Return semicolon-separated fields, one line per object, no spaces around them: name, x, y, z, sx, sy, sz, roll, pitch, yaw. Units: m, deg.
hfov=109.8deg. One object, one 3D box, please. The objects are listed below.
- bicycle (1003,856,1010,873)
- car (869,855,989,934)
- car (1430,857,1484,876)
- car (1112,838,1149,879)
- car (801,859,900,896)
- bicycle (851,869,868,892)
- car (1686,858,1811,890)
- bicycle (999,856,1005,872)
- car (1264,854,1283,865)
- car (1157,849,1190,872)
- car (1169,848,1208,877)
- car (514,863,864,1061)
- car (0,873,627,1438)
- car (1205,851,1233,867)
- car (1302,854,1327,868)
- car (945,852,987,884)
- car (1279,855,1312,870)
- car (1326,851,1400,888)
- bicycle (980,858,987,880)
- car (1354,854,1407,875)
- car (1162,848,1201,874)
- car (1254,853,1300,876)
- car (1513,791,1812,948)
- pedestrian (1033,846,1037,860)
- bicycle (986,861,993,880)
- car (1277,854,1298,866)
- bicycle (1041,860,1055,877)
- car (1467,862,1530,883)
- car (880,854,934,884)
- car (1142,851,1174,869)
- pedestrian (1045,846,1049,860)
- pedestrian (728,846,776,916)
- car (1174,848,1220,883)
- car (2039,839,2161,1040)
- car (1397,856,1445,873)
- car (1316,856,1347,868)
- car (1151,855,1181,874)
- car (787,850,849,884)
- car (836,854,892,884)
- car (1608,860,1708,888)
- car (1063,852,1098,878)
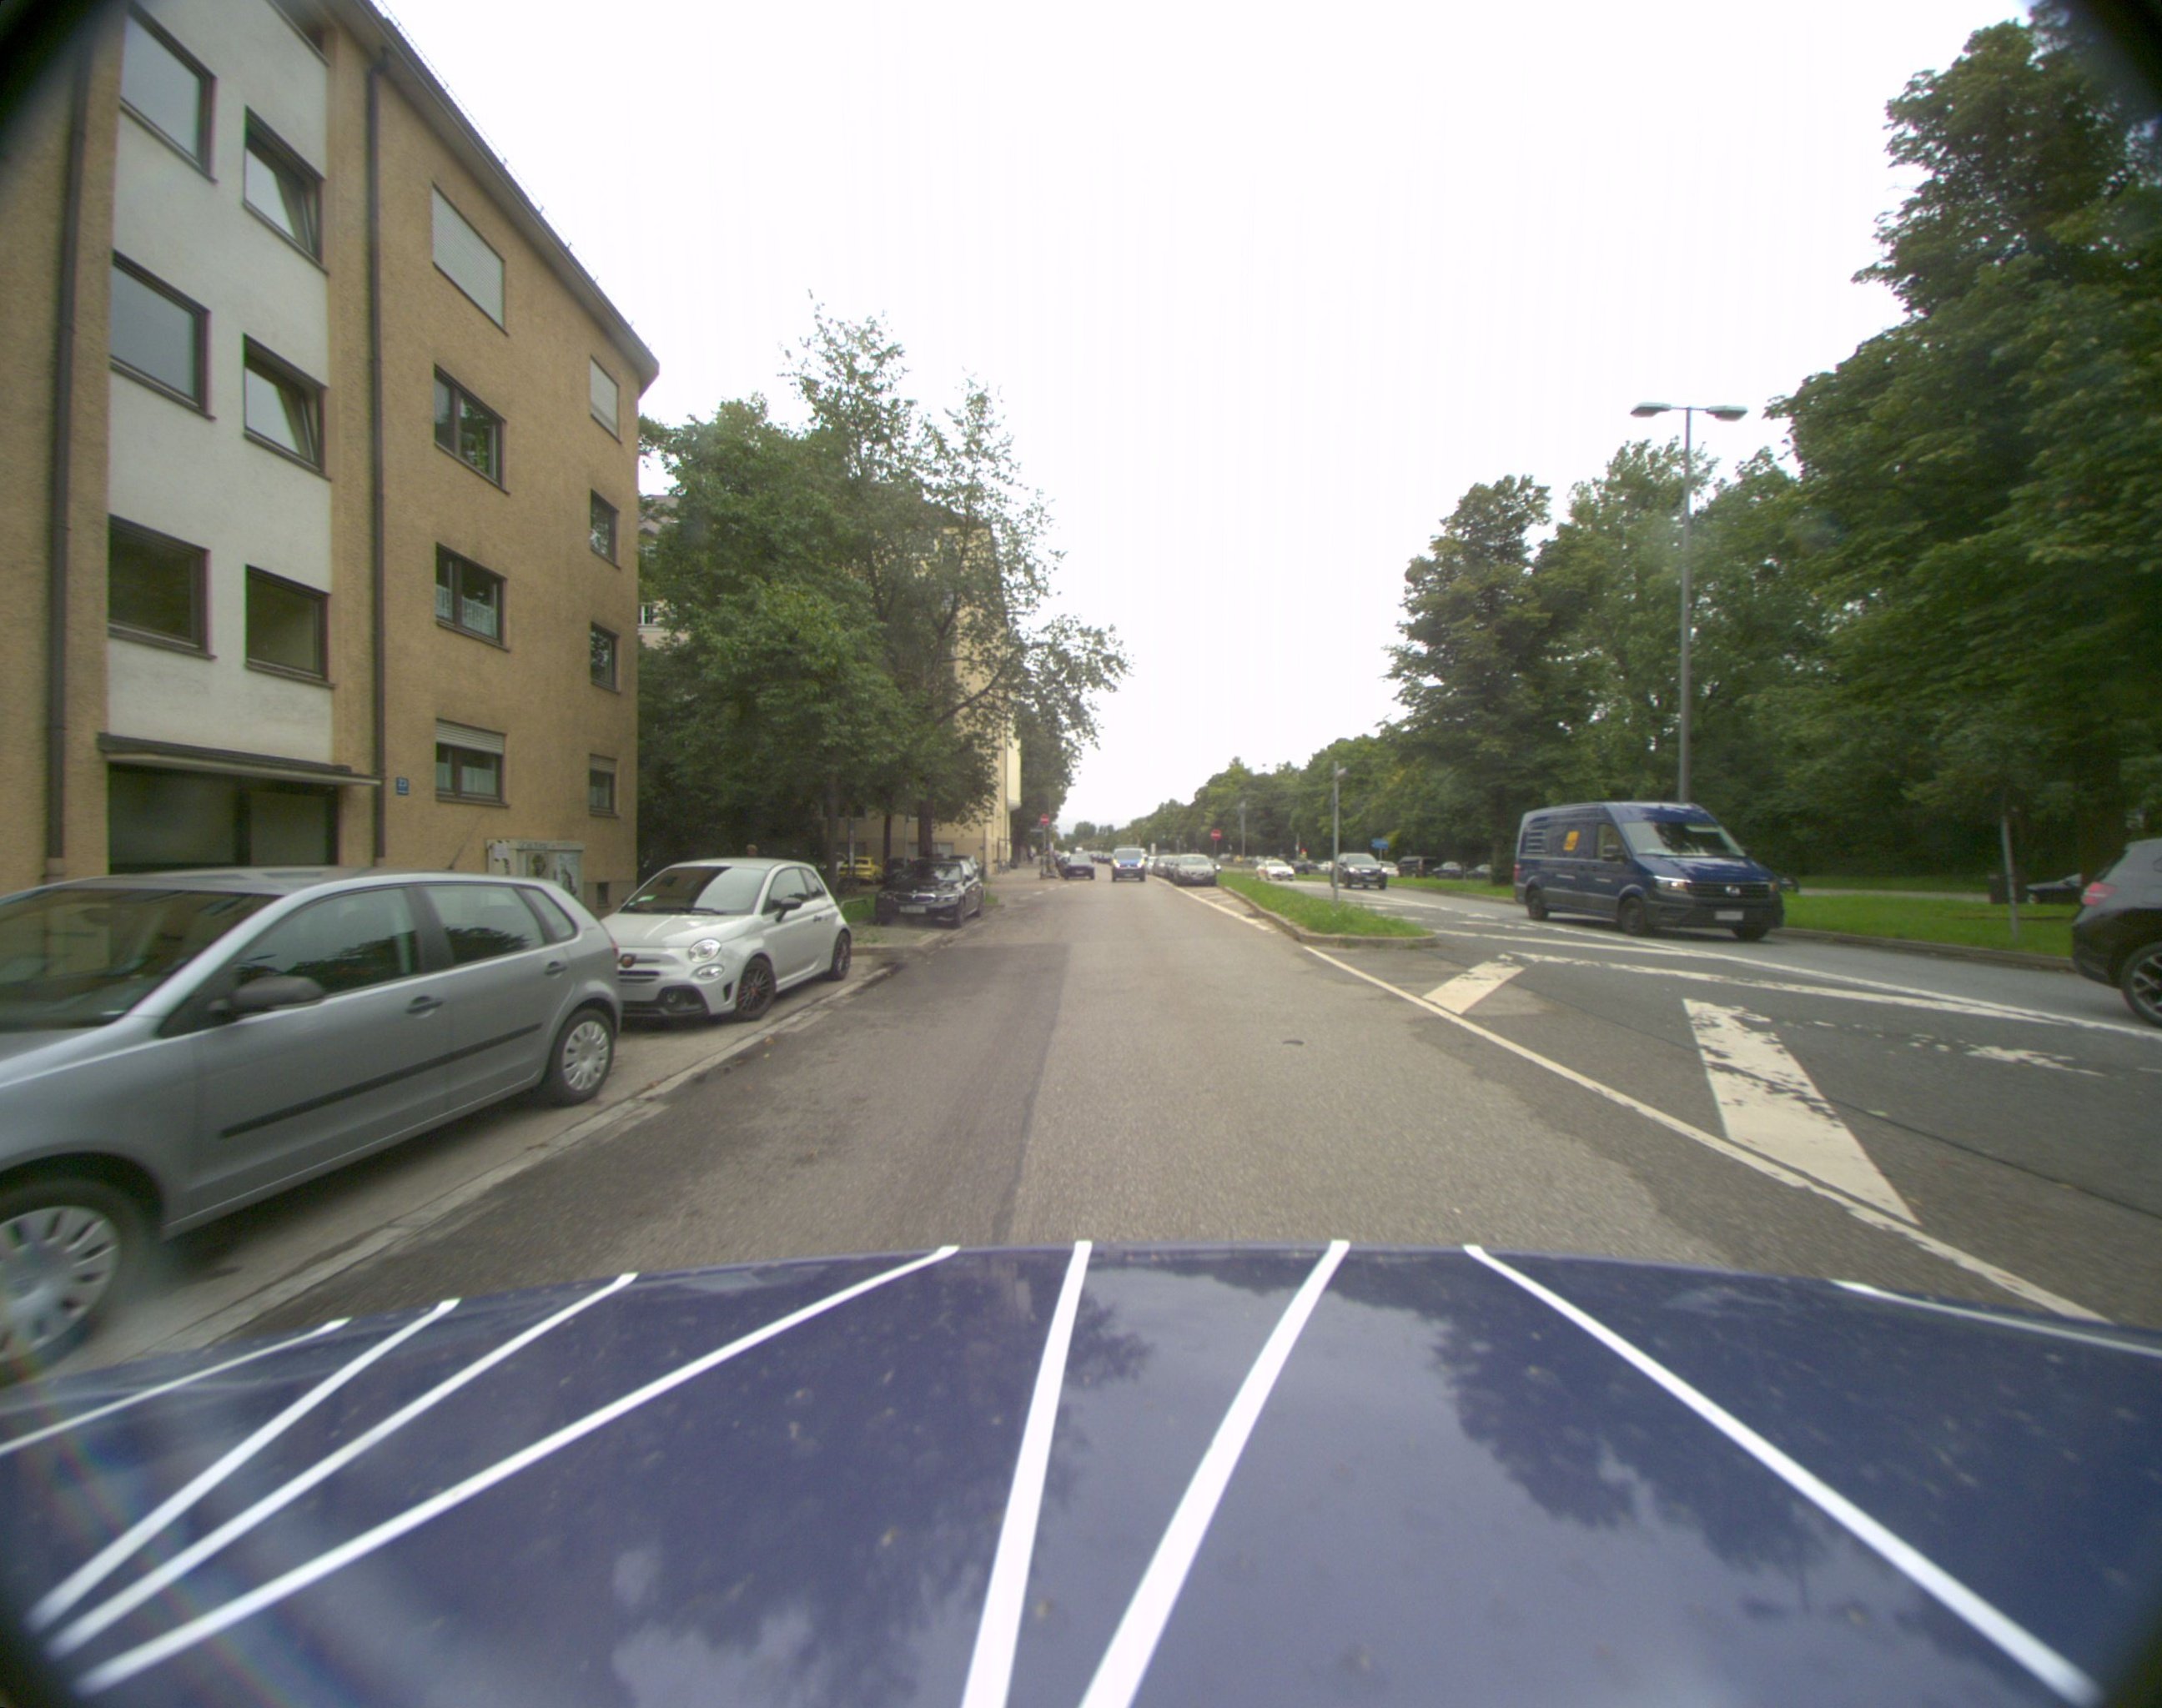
bicycle;-5.402;0.749;55.090;0.401;1.164;1.318;0;0;-11
car;-3.340;0.816;17.532;1.796;1.488;4.376;3;0;0
car;31.196;0.998;63.236;1.999;1.438;4.523;1;0;-4
car;2.923;0.201;43.917;1.855;2.198;4.555;0;1;7
car;-9.810;0.992;32.552;3.705;1.488;1.733;0;0;1
bicycle;-8.745;1.036;29.999;0.249;0.875;1.080;0;0;8
car;32.861;0.927;37.601;1.999;1.438;4.523;1;0;-4
bicycle;-5.509;0.688;53.089;0.364;1.164;1.318;0;0;-9
car;29.260;0.835;115.817;1.866;1.736;3.999;0;0;-1
car;6.329;0.409;52.578;1.992;1.556;4.283;0;0;3
car;5.996;0.446;42.829;1.991;1.556;4.284;0;0;5
car;-3.694;0.892;8.007;1.632;1.487;3.821;1;0;1
car;-3.850;0.893;3.114;1.632;1.487;3.787;1;0;1
car;14.106;0.461;78.040;1.992;1.556;4.272;0;0;-2
car;30.105;0.893;98.152;1.999;1.736;3.999;0;0;-1
car;-5.960;0.704;39.816;1.825;1.556;4.243;0;0;-3
car;21.148;0.851;75.169;1.897;1.438;4.032;0;0;-4
car;13.106;0.660;35.562;1.992;1.618;4.273;0;0;2
bicycle;-5.518;0.822;43.030;0.282;1.224;1.238;0;0;-2
car;22.161;0.735;56.408;1.833;1.438;4.233;1;0;-7
car;6.269;0.399;47.888;1.992;1.556;4.283;0;0;2
car;14.049;0.716;54.784;1.992;1.556;4.653;0;0;-1
car;10.788;0.186;14.888;2.187;2.450;5.855;0;1;10
pedestrian;-6.493;-0.111;106.926;0.458;2.002;0.617;0;0;-18
bicycle;-5.190;0.944;43.014;0.282;1.055;1.238;0;0;-2
car;29.597;0.860;108.832;1.885;1.736;3.999;0;0;-1
bicycle;-2.043;0.891;47.207;0.632;1.031;1.736;1;0;5
car;31.662;1.360;57.791;1.999;1.438;4.523;1;0;-4
car;-8.987;0.764;39.548;2.054;1.458;4.243;0;0;-3
car;6.423;0.497;63.642;1.993;1.447;4.281;0;0;-3
pedestrian;-4.778;-0.146;105.949;0.458;2.002;0.617;0;0;-18
pedestrian;-7.780;0.624;18.028;0.672;1.614;0.980;0;2;2
car;5.543;0.518;36.748;1.903;1.556;4.772;0;0;5
car;9.221;0.710;4.255;1.917;1.577;4.833;2;1;8
car;31.143;0.930;69.793;1.999;1.526;4.704;1;0;-4
car;30.298;0.964;92.116;1.999;1.438;4.316;1;0;-5
car;6.375;0.772;57.422;1.766;1.362;4.282;0;0;-1
car;-13.368;0.629;38.916;1.917;1.610;4.243;0;0;-3
car;-11.102;0.732;39.140;1.917;1.458;4.243;0;0;-3
car;32.486;1.079;42.947;1.999;1.438;4.523;1;0;-4
car;-0.025;0.666;48.726;2.129;1.556;4.507;-1;0;0
